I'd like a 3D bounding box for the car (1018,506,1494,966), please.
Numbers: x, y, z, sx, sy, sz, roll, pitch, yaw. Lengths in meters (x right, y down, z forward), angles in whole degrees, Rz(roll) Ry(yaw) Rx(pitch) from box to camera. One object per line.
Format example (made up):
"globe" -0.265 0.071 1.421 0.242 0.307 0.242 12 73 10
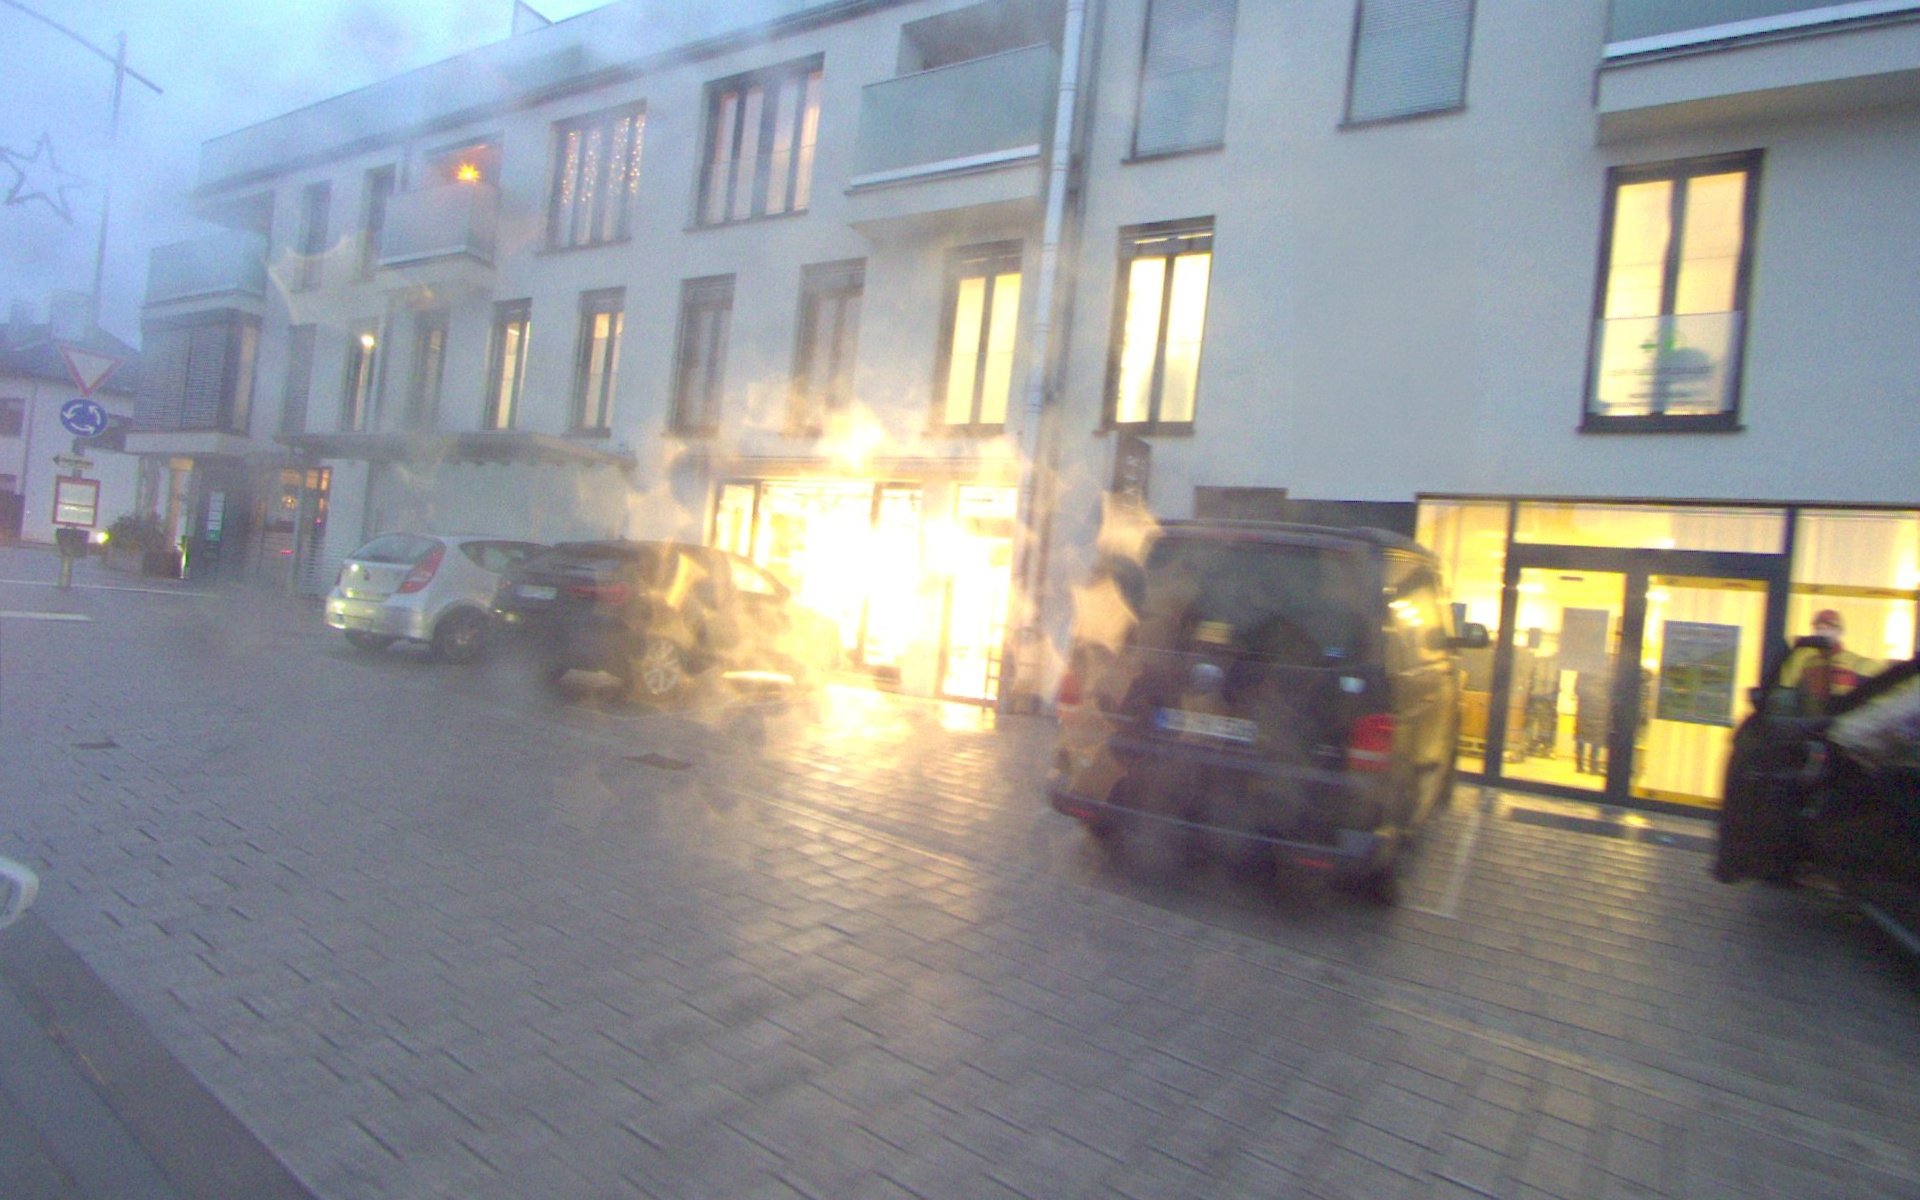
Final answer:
"car" 2.336 0.535 6.804 1.917 1.947 4.561 6 4 30

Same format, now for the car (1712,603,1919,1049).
"car" 5.116 1.034 4.471 1.771 1.663 4.176 7 6 24

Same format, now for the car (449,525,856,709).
"car" -3.048 0.182 10.942 1.761 1.479 4.212 6 1 26

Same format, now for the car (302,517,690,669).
"car" -5.570 -0.044 12.691 1.761 1.479 4.212 6 1 26
